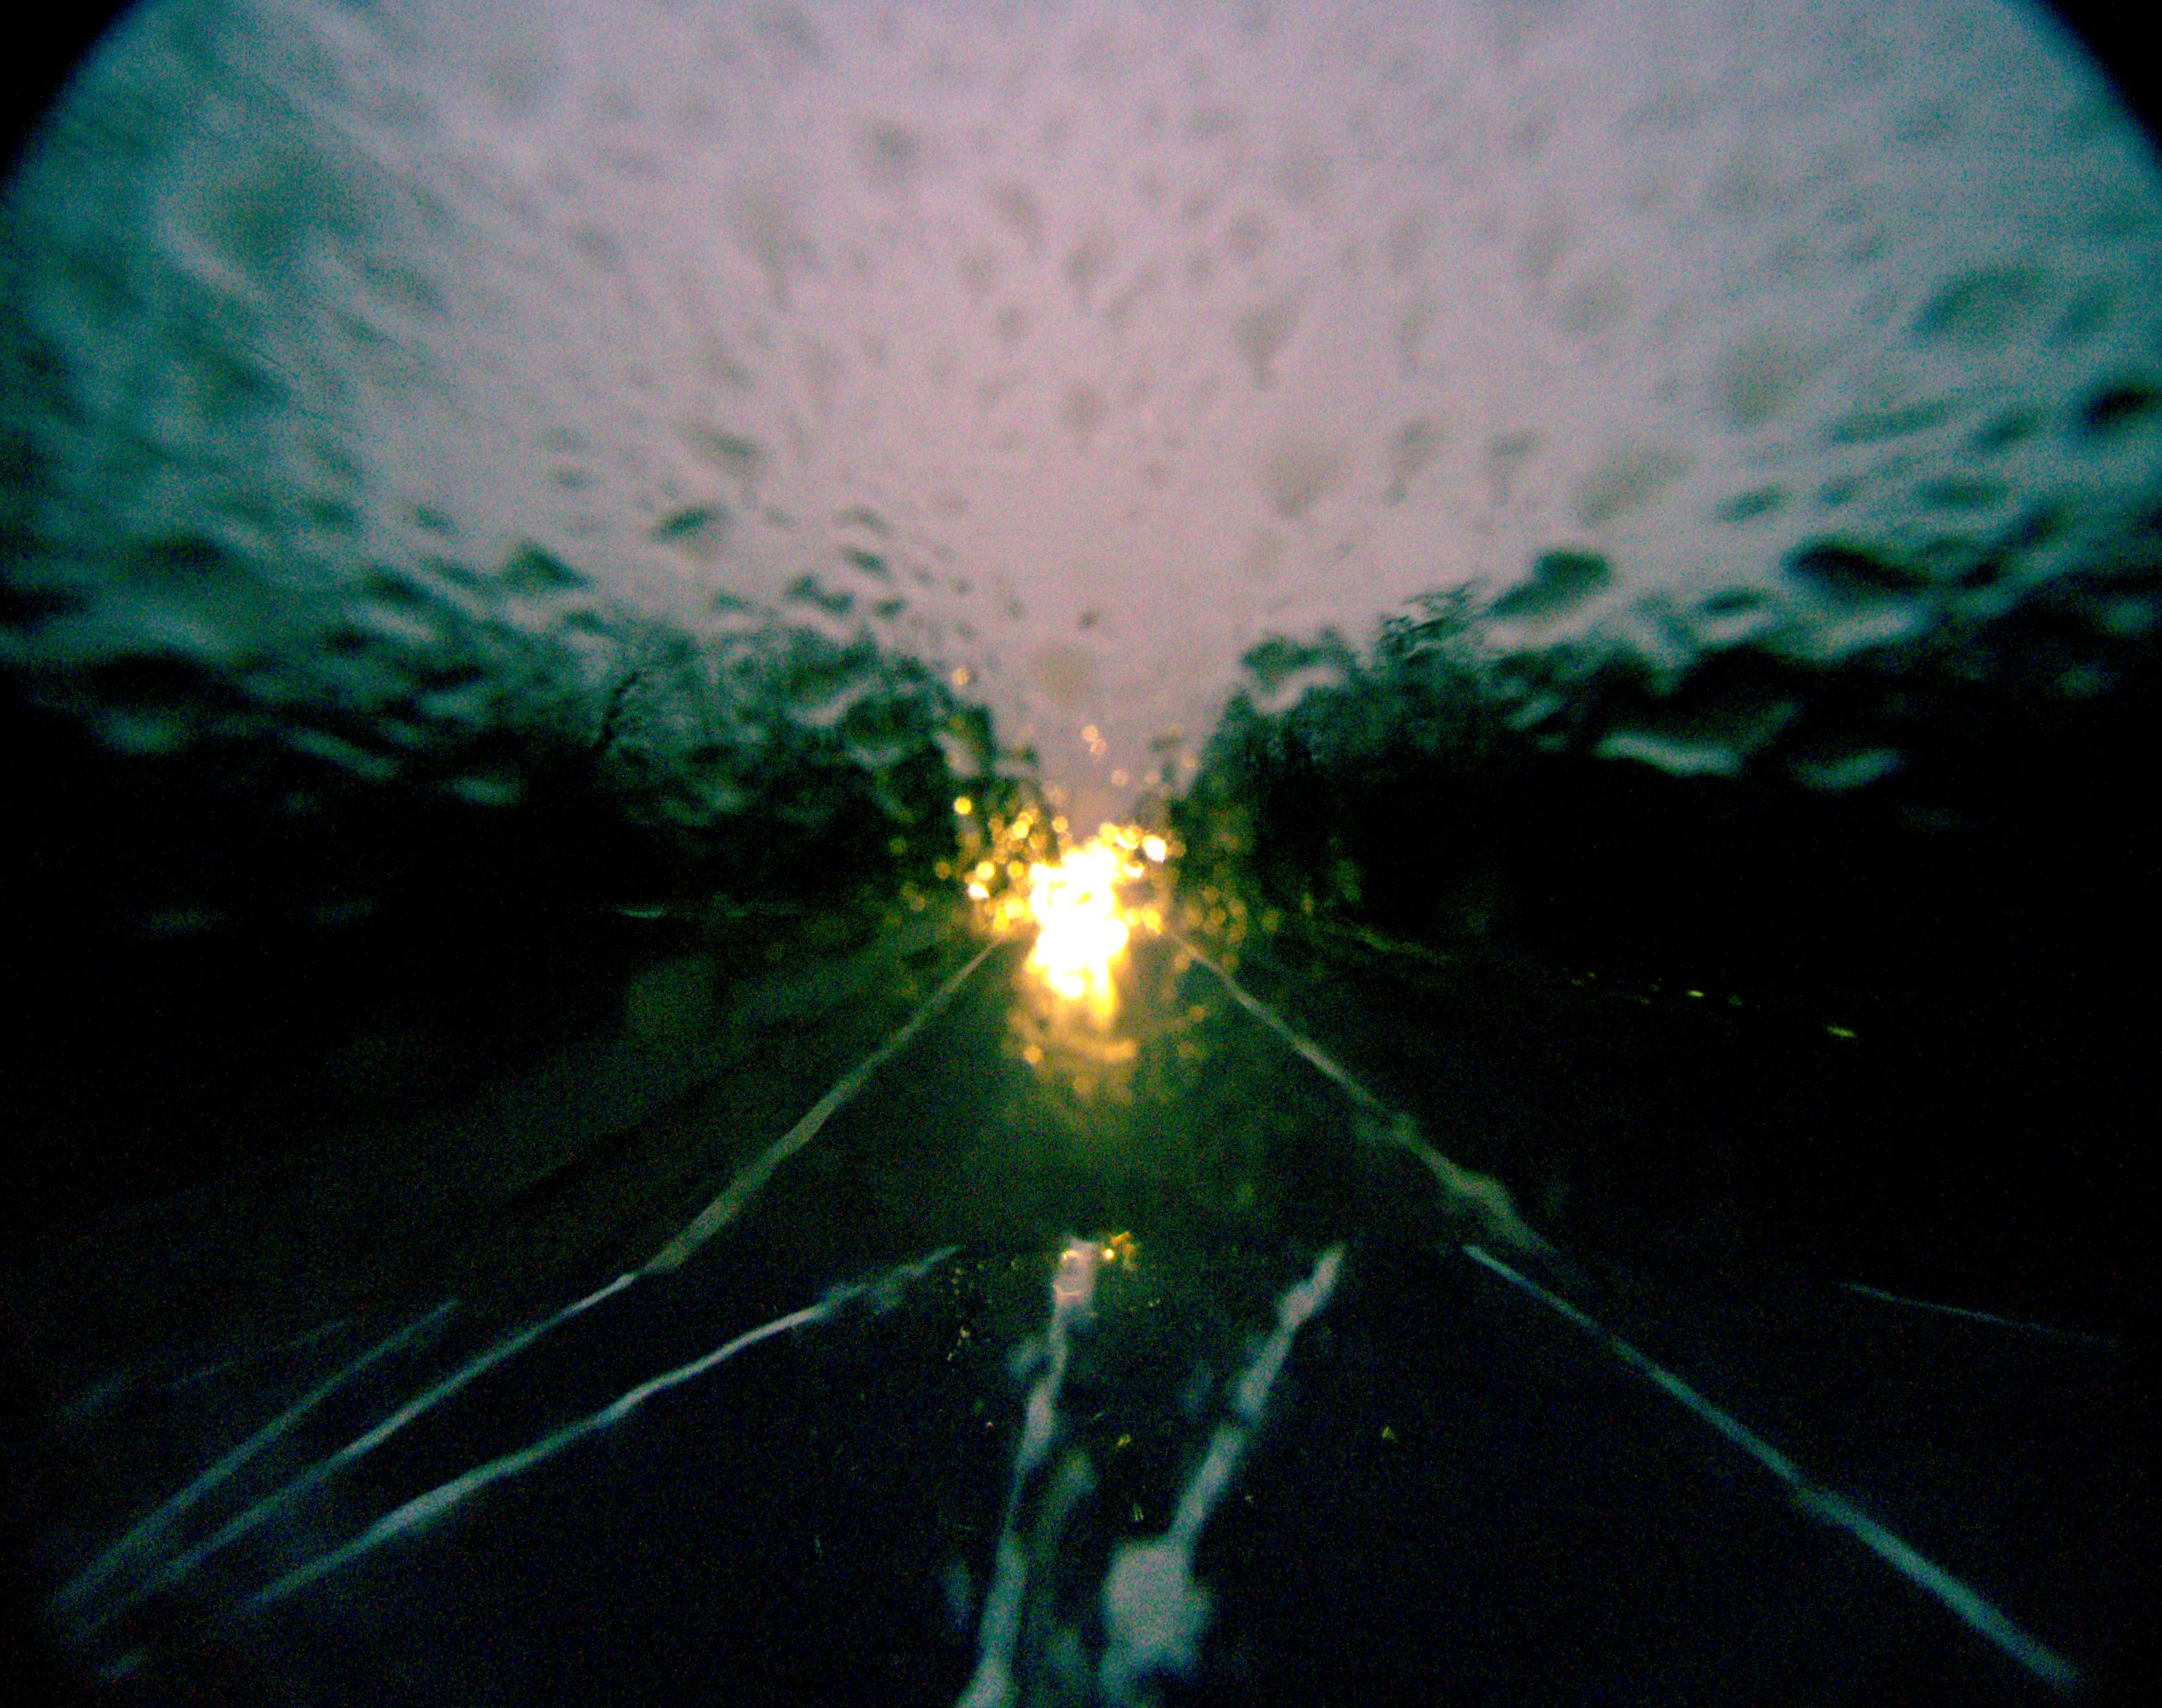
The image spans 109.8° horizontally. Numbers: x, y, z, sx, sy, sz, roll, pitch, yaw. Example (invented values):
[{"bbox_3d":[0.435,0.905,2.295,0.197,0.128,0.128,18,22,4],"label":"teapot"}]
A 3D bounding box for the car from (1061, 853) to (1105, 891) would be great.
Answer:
[{"bbox_3d":[0.092,0.792,35.004,1.860,1.604,4.000,-2,0,0],"label":"car"}]

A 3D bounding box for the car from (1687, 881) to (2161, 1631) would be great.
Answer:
[{"bbox_3d":[3.106,0.847,0.745,1.809,1.478,4.000,1,0,0],"label":"car"}]
